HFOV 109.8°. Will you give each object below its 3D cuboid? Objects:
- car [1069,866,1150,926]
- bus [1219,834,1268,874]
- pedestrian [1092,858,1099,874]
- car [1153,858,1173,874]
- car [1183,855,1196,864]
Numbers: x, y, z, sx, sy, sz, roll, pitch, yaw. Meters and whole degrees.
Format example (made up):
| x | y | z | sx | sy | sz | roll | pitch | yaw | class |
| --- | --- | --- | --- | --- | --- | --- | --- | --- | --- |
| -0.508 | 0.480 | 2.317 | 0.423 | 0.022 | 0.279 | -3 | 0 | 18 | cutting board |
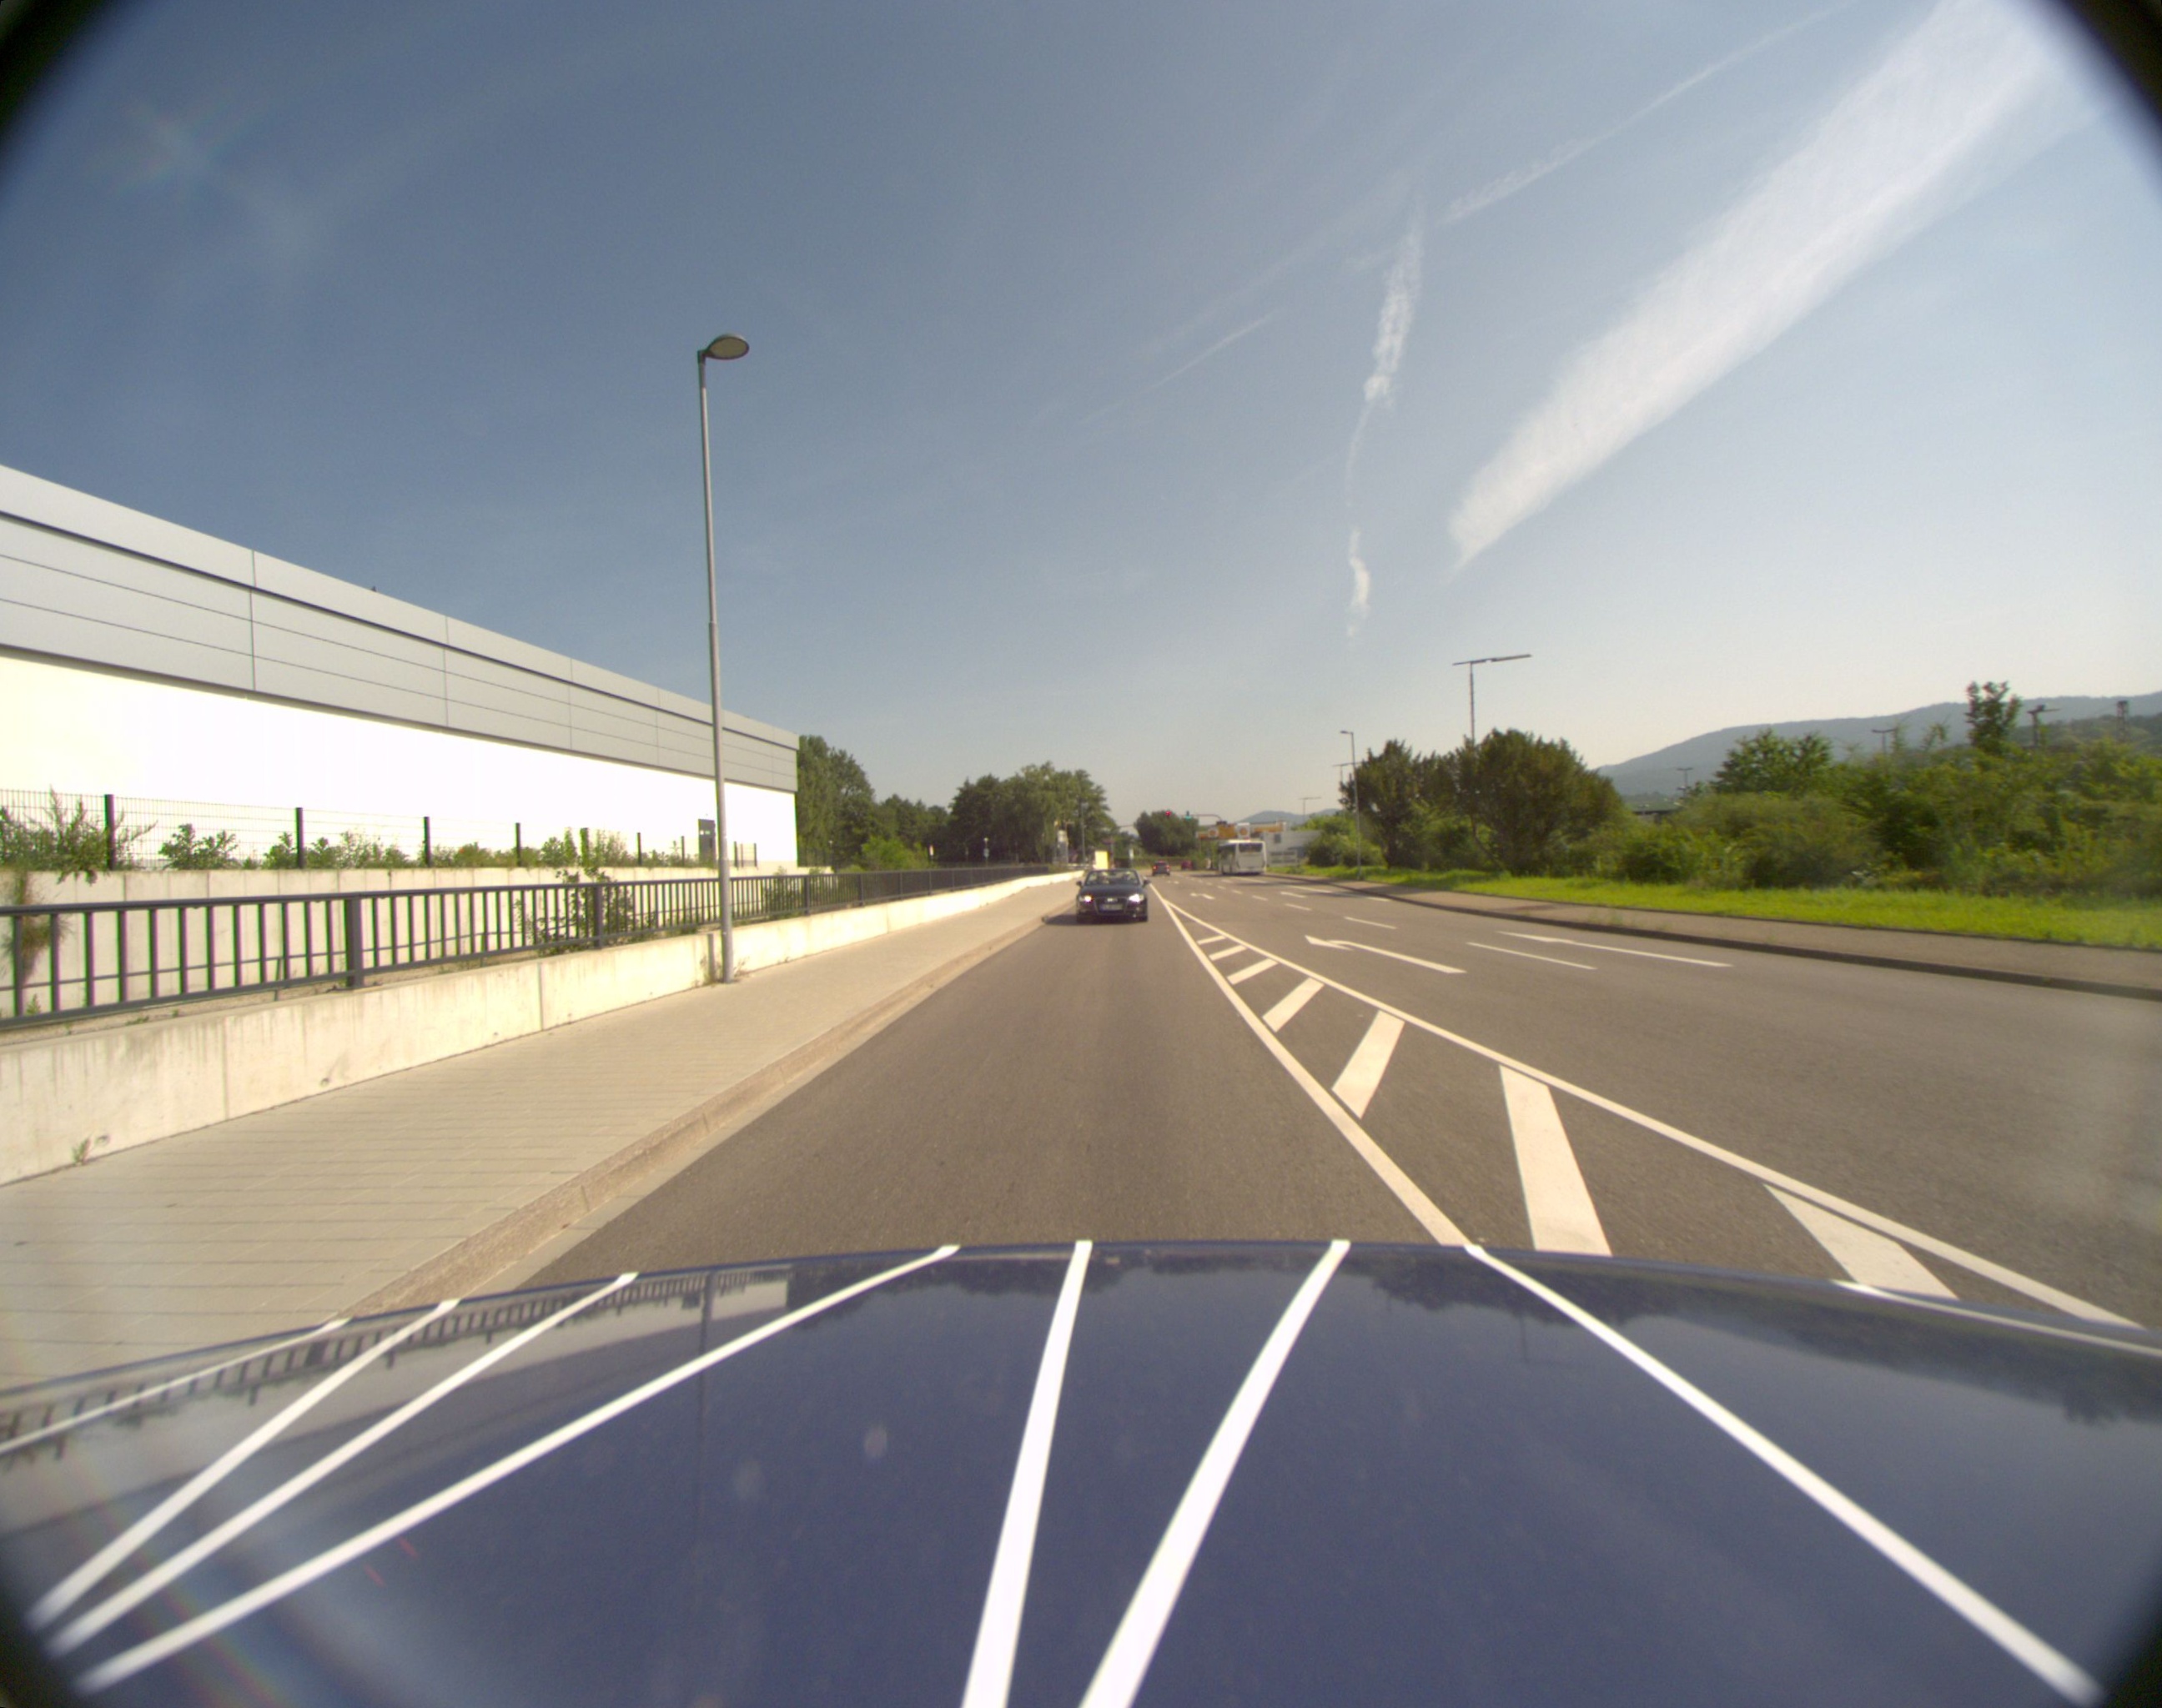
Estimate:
| x | y | z | sx | sy | sz | roll | pitch | yaw | class |
| --- | --- | --- | --- | --- | --- | --- | --- | --- | --- |
| 0.840 | 1.032 | 20.251 | 1.868 | 1.322 | 4.234 | -2 | 0 | 4 | car |
| 14.806 | -0.008 | 70.233 | 2.626 | 3.290 | 11.959 | -2 | 0 | 4 | bus |
| 1.602 | 1.293 | 82.524 | 0.712 | 1.661 | 0.593 | -2 | 1 | -3 | pedestrian |
| 8.146 | 1.191 | 75.786 | 1.776 | 1.464 | 4.221 | -2 | 0 | 5 | car |
| 18.607 | 0.988 | 130.377 | 1.841 | 1.483 | 4.433 | -2 | 0 | 4 | car |
